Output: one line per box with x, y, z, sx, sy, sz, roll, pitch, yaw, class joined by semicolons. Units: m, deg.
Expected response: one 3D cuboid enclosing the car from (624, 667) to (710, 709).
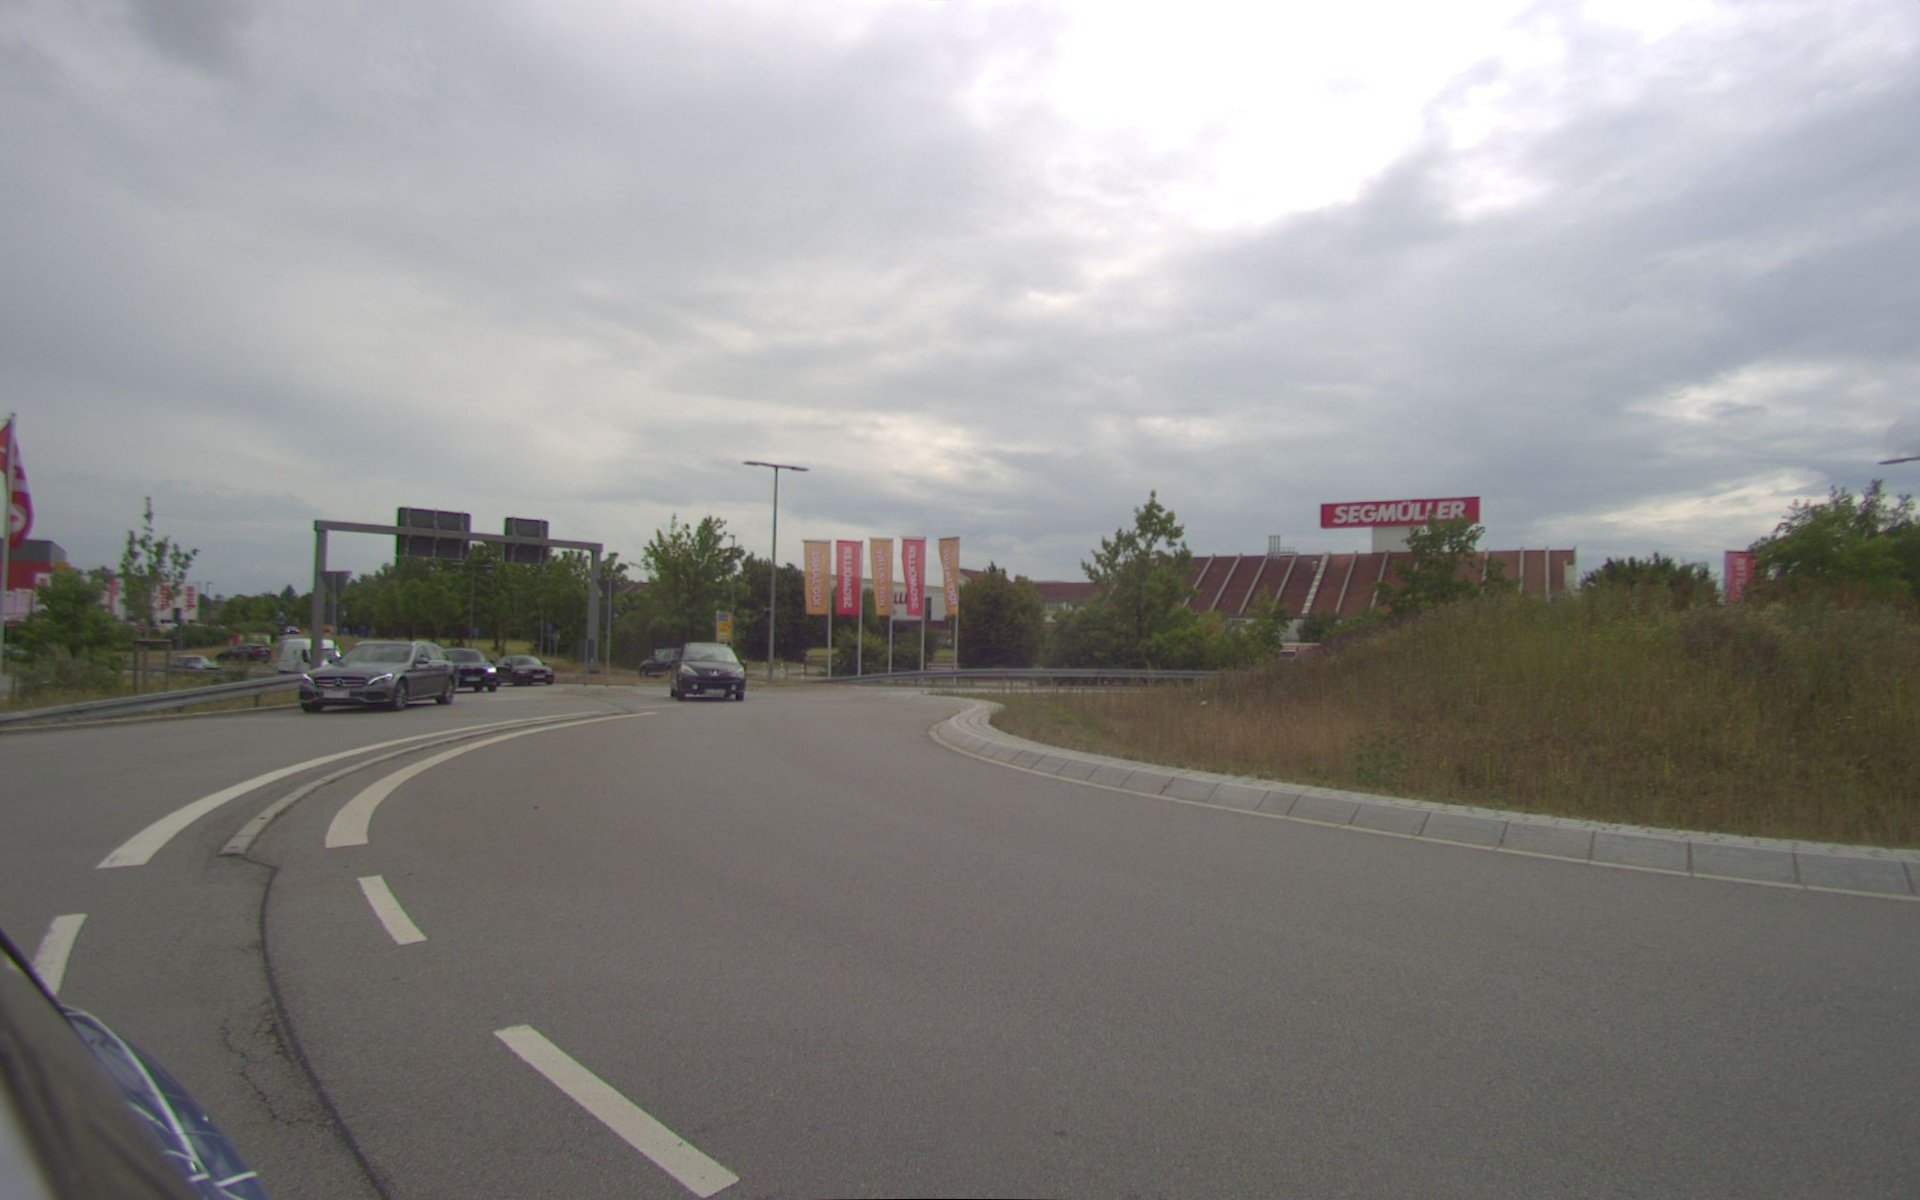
-14.385;4.256;49.479;2.073;1.804;5.058;2;-3;-41;car

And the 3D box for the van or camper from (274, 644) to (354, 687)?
-38.356;3.835;60.027;5.529;2.382;2.029;-1;-3;35;van or camper

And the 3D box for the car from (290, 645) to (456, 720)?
-12.314;1.729;21.542;1.737;1.431;4.099;1;-4;-10;car

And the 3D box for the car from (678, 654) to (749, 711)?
-6.482;2.121;26.355;1.554;1.364;3.834;2;-4;-17;car

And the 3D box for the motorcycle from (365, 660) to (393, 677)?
-43.075;5.076;75.009;2.240;1.239;0.696;-3;-6;30;motorcycle

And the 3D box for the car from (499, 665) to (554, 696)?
-20.156;3.728;47.022;1.555;1.278;3.321;2;-3;-37;car

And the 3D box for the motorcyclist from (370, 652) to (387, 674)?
-43.095;4.676;74.984;0.843;1.588;0.668;-3;-5;28;motorcyclist

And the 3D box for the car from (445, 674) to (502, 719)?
-18.577;3.627;38.583;1.828;1.423;4.572;1;-2;-27;car
